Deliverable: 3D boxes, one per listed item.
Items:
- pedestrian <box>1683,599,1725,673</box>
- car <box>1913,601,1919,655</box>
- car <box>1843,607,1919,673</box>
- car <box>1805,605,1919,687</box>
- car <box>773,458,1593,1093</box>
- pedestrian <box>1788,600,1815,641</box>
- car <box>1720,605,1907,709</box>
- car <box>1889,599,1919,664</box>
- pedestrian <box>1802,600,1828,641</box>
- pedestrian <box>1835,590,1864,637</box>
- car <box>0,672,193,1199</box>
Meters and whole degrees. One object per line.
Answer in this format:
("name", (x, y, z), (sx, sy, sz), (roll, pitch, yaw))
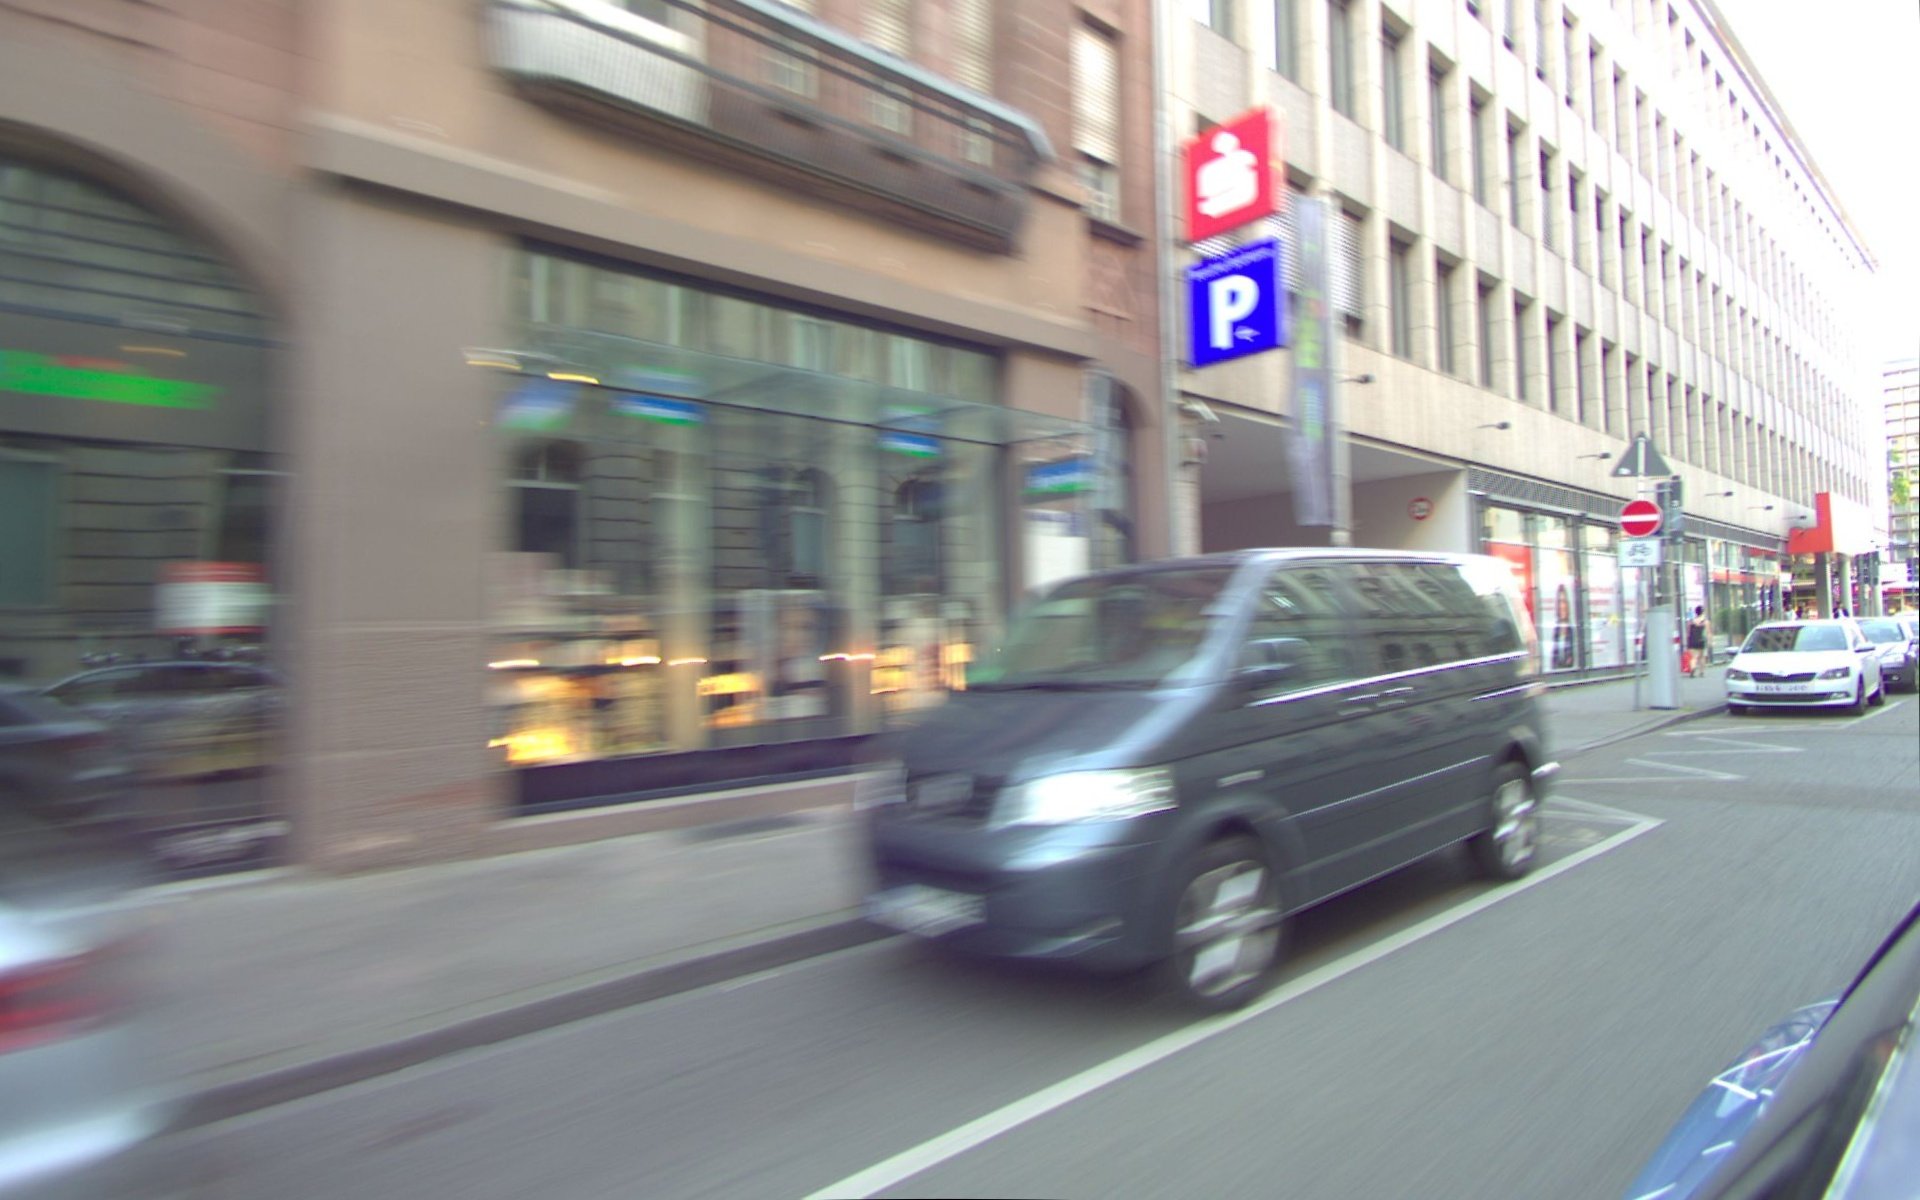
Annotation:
("pedestrian", (17.087, 0.818, 23.232), (0.639, 1.656, 0.649), (1, -1, -41))
("car", (31.199, 0.807, 31.435), (4.630, 1.619, 1.742), (1, -4, -40))
("car", (22.598, 0.911, 24.158), (3.800, 1.466, 1.659), (0, -3, -40))
("car", (18.591, 0.875, 20.454), (4.369, 1.466, 1.658), (0, -3, -42))
("car", (1.612, 0.599, 5.685), (4.966, 2.085, 1.849), (0, -3, -41))
("pedestrian", (36.705, 0.905, 44.147), (0.797, 1.784, 0.676), (-2, -2, 44))
("car", (14.115, 0.875, 16.659), (4.233, 1.466, 1.659), (0, -3, -41))
("car", (26.797, 0.795, 27.536), (4.732, 1.687, 1.777), (0, -3, -43))
("pedestrian", (37.583, 0.911, 44.478), (0.796, 1.784, 0.677), (-2, -2, 42))
("pedestrian", (37.555, 0.570, 42.727), (0.675, 1.944, 0.798), (1, -2, -41))
("car", (-3.663, 0.912, 1.132), (4.416, 1.472, 1.689), (1, -5, -39))
